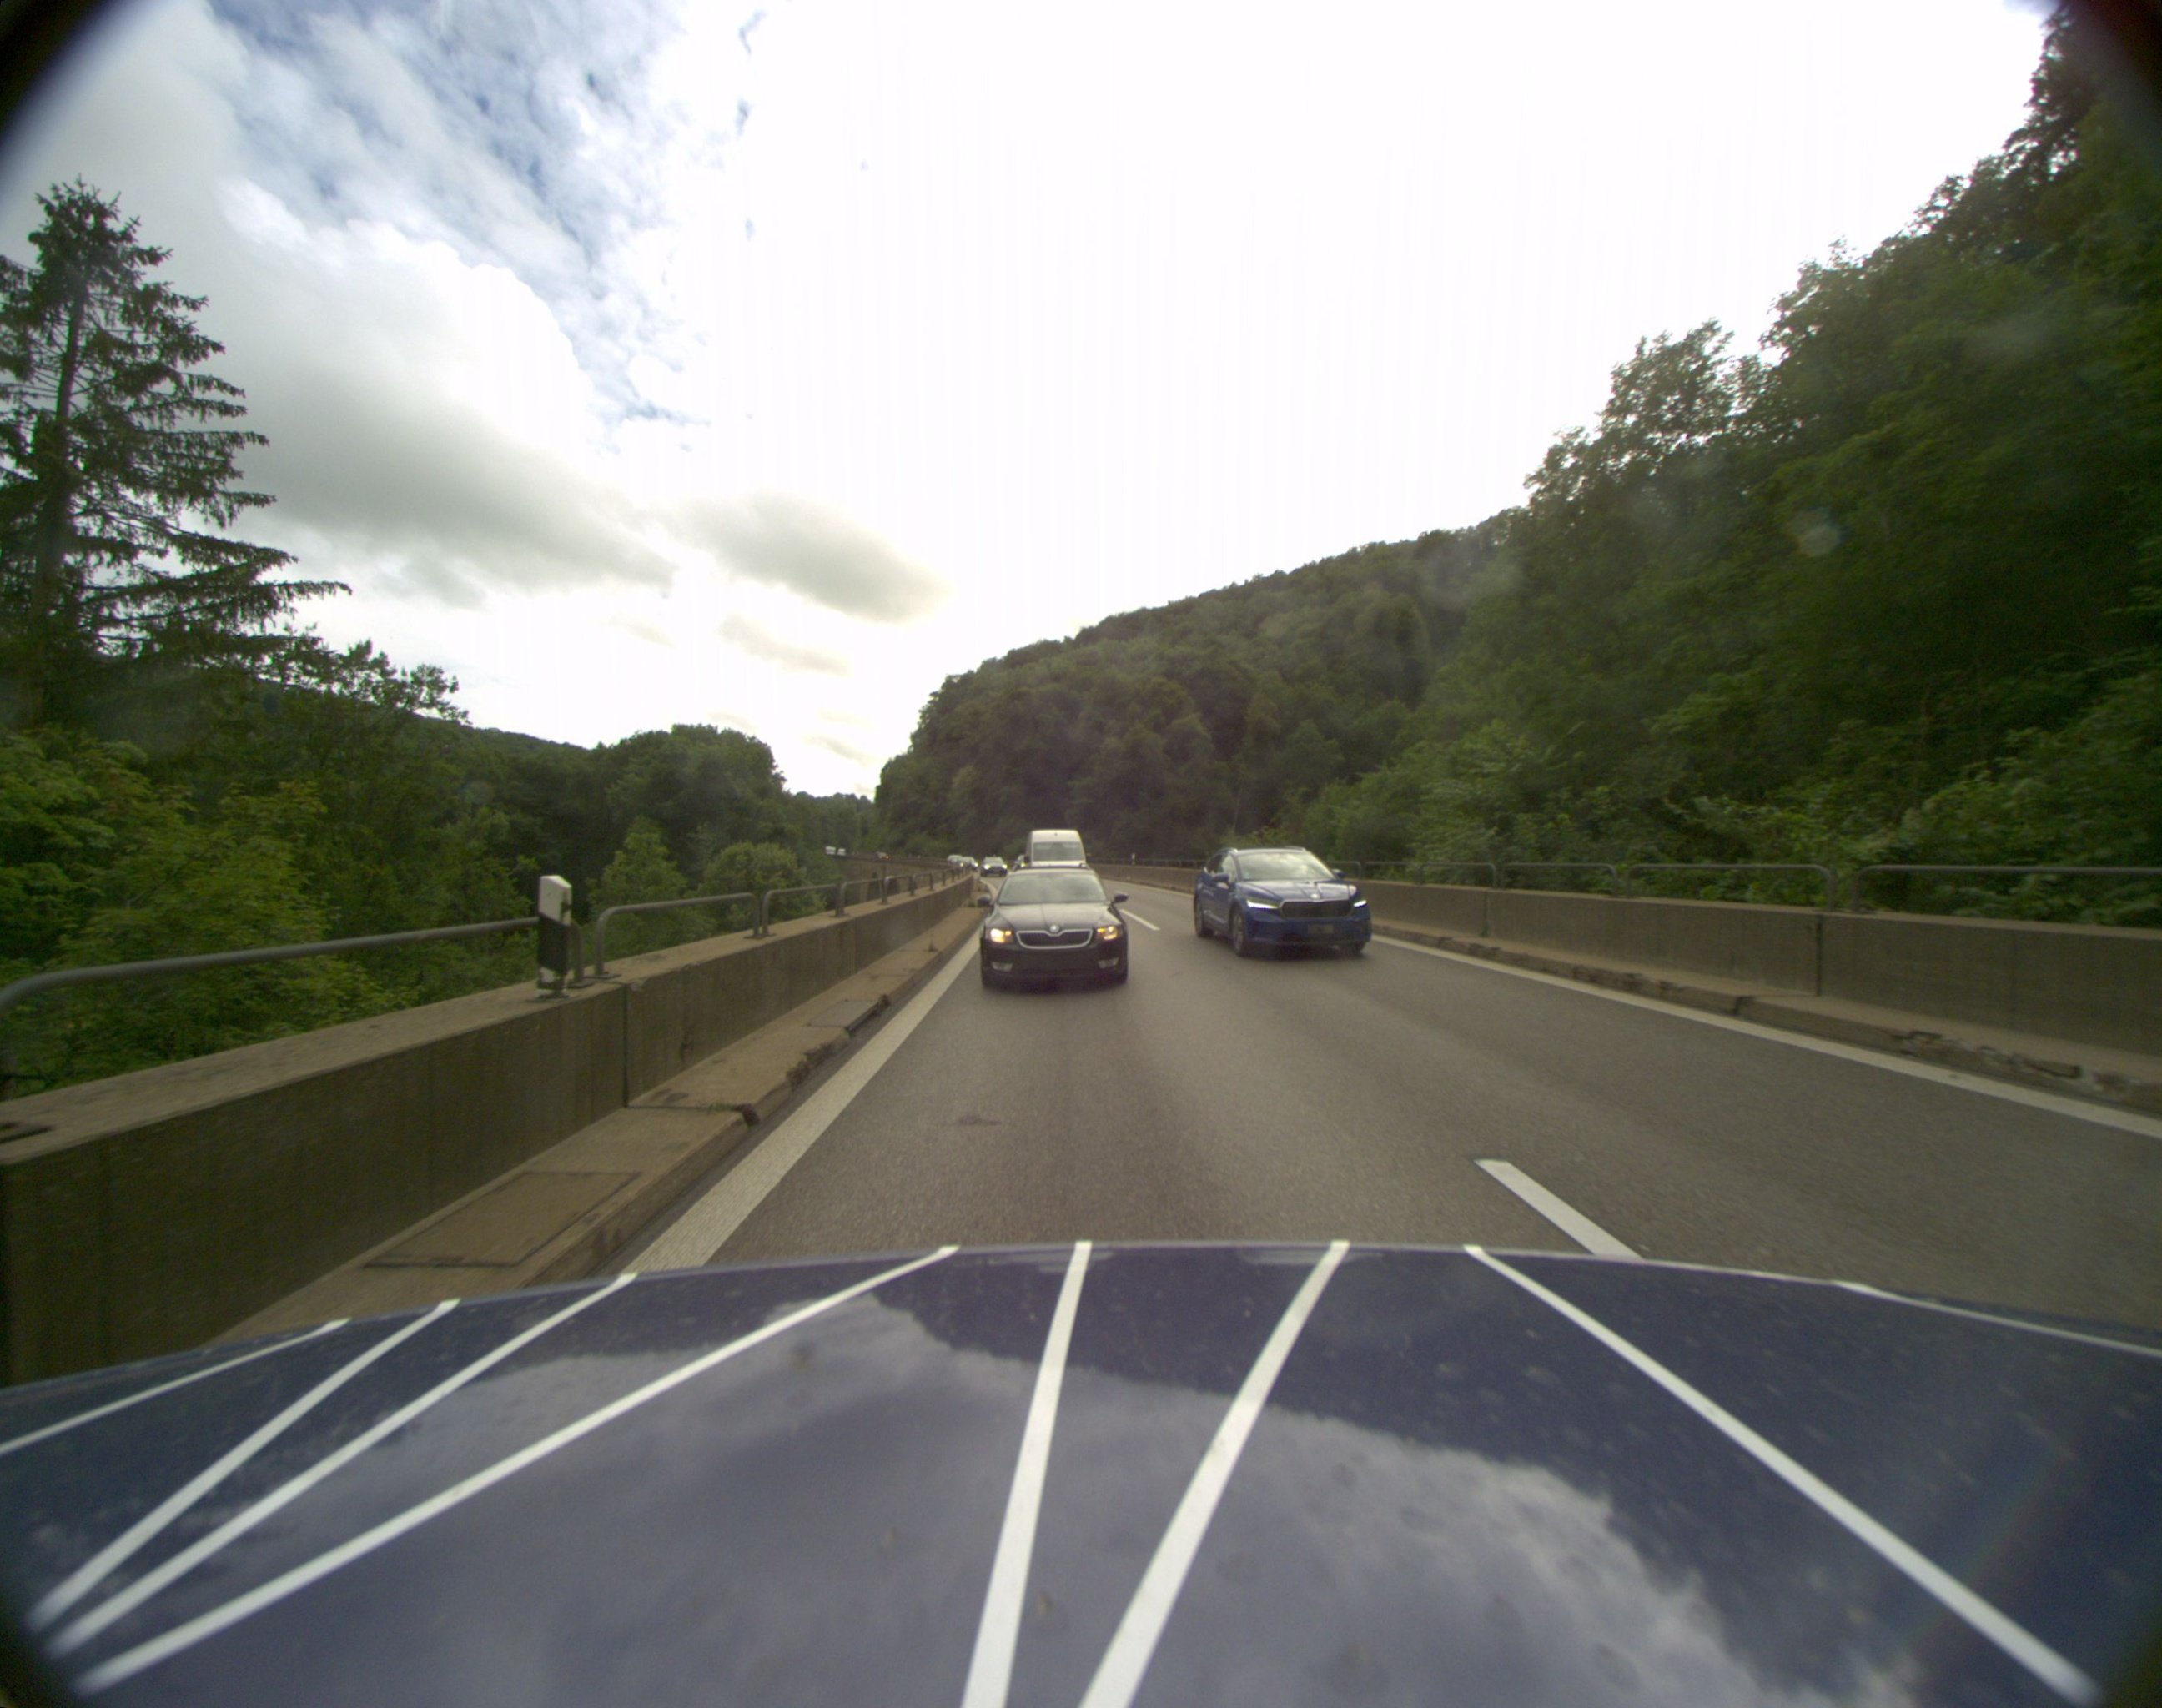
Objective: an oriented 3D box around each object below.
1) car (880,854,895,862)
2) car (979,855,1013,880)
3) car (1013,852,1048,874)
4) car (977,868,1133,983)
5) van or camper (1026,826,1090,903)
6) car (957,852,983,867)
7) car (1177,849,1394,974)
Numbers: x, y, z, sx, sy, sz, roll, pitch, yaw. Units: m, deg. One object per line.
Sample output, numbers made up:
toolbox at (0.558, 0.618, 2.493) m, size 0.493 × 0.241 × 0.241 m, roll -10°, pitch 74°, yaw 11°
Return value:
car at (-33.740, 0.612, 132.338) m, size 1.891 × 1.312 × 3.992 m, roll -3°, pitch 1°, yaw -23°
car at (-6.547, 1.017, 58.400) m, size 1.966 × 1.696 × 3.994 m, roll -2°, pitch 1°, yaw -15°
car at (-4.199, 0.699, 62.315) m, size 2.001 × 1.623 × 5.001 m, roll -2°, pitch 1°, yaw -14°
car at (-0.359, 0.982, 12.425) m, size 1.999 × 1.389 × 5.008 m, roll -1°, pitch 0°, yaw -1°
van or camper at (-0.931, 0.340, 28.703) m, size 2.082 × 2.575 × 5.909 m, roll -1°, pitch 1°, yaw -3°
car at (-10.732, 0.496, 73.444) m, size 1.890 × 1.312 × 3.994 m, roll -2°, pitch 1°, yaw -16°
car at (3.089, 0.770, 12.747) m, size 1.999 × 1.622 × 5.006 m, roll -2°, pitch 0°, yaw -3°
